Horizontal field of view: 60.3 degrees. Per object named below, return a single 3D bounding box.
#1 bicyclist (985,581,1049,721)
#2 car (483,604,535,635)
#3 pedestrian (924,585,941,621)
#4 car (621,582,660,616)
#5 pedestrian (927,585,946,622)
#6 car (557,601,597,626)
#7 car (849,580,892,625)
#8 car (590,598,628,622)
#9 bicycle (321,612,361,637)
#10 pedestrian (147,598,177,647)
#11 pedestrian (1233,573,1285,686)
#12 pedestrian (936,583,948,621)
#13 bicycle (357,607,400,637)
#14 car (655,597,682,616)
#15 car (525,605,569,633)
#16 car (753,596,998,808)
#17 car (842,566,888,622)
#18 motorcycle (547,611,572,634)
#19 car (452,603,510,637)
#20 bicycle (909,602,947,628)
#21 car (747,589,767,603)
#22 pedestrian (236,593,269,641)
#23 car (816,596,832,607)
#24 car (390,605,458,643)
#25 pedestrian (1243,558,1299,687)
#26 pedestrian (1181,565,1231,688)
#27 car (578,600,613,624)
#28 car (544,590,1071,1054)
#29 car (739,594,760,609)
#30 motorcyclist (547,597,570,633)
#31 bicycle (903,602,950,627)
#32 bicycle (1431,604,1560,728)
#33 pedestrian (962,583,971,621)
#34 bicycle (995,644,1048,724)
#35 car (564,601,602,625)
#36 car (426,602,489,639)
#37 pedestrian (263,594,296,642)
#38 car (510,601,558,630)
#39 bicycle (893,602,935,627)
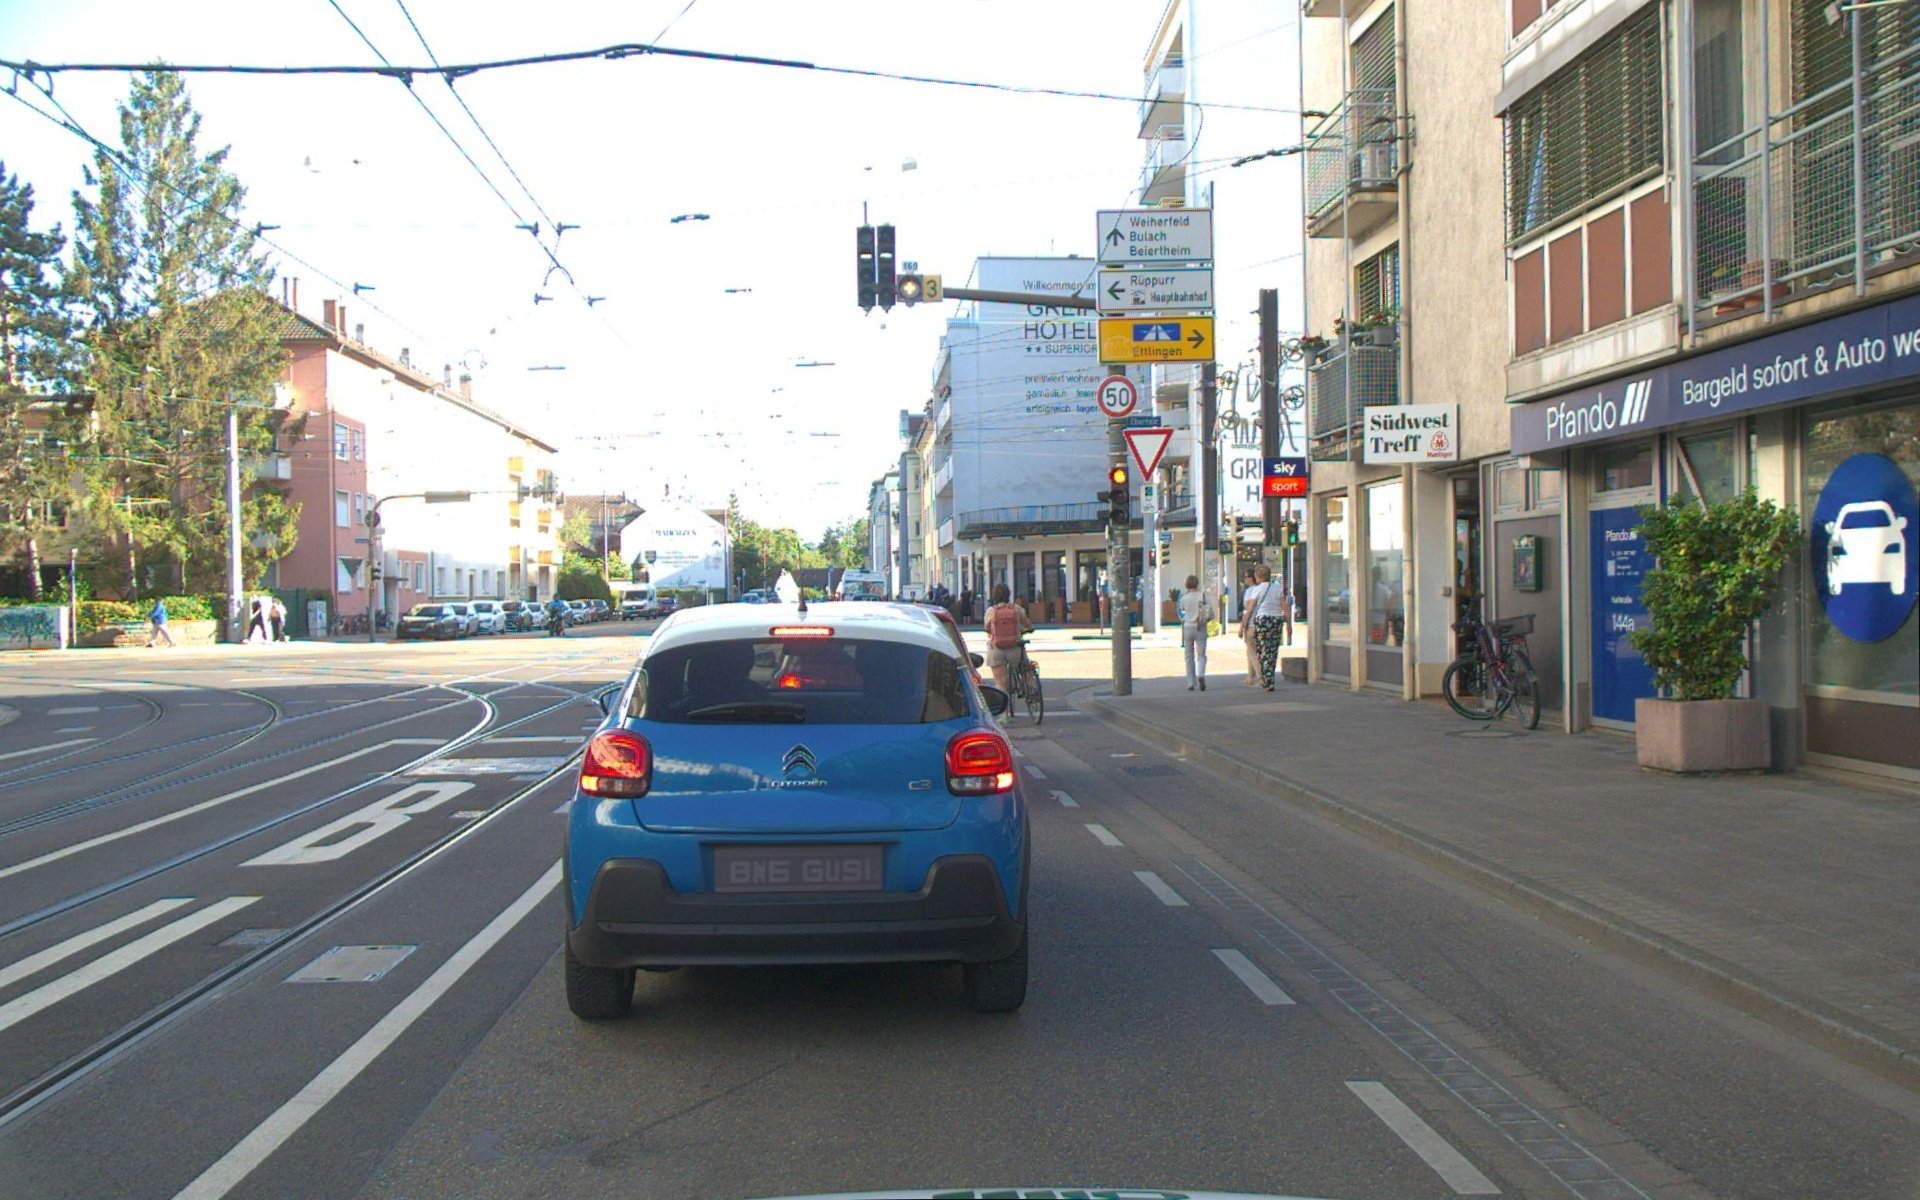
[{"bbox_3d":[0.691,0.607,20.285,0.711,1.674,0.790,-1,0,-1],"label":"bicyclist"},{"bbox_3d":[-23.317,0.988,85.589,1.874,1.523,3.996,-1,0,-5],"label":"car"},{"bbox_3d":[-1.236,0.148,74.248,0.637,1.583,0.490,-1,0,-23],"label":"pedestrian"},{"bbox_3d":[-22.939,-0.083,118.952,2.164,2.290,4.672,-1,0,-5],"label":"car"},{"bbox_3d":[-1.031,0.144,72.447,0.637,1.583,0.490,-1,0,-23],"label":"pedestrian"},{"bbox_3d":[-24.463,0.851,105.686,1.874,1.523,3.996,-1,0,-5],"label":"car"},{"bbox_3d":[-3.662,0.102,67.459,1.698,1.780,3.211,0,0,-4],"label":"car"},{"bbox_3d":[-25.713,0.725,121.184,1.990,1.647,4.508,-1,0,-3],"label":"car"},{"bbox_3d":[-25.068,0.990,66.989,0.718,0.968,2.596,-1,0,-2],"label":"bicycle"},{"bbox_3d":[-27.253,0.760,56.487,0.840,1.654,0.509,-1,0,-34],"label":"pedestrian"},{"bbox_3d":[4.193,0.403,23.191,0.530,1.534,0.611,-3,2,-3],"label":"pedestrian"},{"bbox_3d":[-0.751,0.081,69.706,0.482,1.583,0.383,-1,0,-4],"label":"pedestrian"},{"bbox_3d":[-25.692,0.964,73.111,0.831,1.247,3.302,-1,0,-2],"label":"bicycle"},{"bbox_3d":[-25.365,0.570,144.092,1.982,1.552,3.996,-1,0,-5],"label":"car"},{"bbox_3d":[-24.262,1.099,97.285,1.874,1.523,3.996,-1,0,-5],"label":"car"},{"bbox_3d":[-0.620,0.712,13.619,1.703,1.445,3.999,-1,0,-1],"label":"car"},{"bbox_3d":[-4.159,-0.244,72.367,1.954,2.366,3.997,0,0,-4],"label":"car"},{"bbox_3d":[-16.224,0.897,67.018,0.603,0.879,1.670,-1,0,-1],"label":"motorcycle"},{"bbox_3d":[-22.779,0.918,78.816,1.874,1.523,3.996,-1,0,-5],"label":"car"},{"bbox_3d":[-1.255,0.597,65.960,1.473,0.973,0.702,-1,0,1],"label":"bicycle"},{"bbox_3d":[-22.942,-0.431,187.087,1.982,1.552,3.996,-1,0,-5],"label":"car"},{"bbox_3d":[-25.327,0.600,59.182,0.826,1.720,0.737,-1,0,2],"label":"pedestrian"},{"bbox_3d":[-16.470,0.175,199.804,1.722,1.281,3.826,-1,0,-8],"label":"car"},{"bbox_3d":[-22.144,0.961,68.475,1.874,1.458,3.995,-1,0,-6],"label":"car"},{"bbox_3d":[4.195,0.298,22.363,0.530,1.701,0.650,-3,0,-3],"label":"pedestrian"},{"bbox_3d":[3.504,0.371,23.576,0.530,1.701,0.624,-3,2,-3],"label":"pedestrian"},{"bbox_3d":[-25.506,0.815,115.762,1.833,1.601,3.997,-1,0,-4],"label":"car"},{"bbox_3d":[-0.710,0.708,7.394,1.710,1.488,3.994,0,0,-7],"label":"car"},{"bbox_3d":[-21.520,0.157,169.067,1.982,1.552,3.996,-1,0,-5],"label":"car"},{"bbox_3d":[-16.217,0.605,66.863,0.704,1.402,0.911,-1,0,-1],"label":"motorcyclist"},{"bbox_3d":[-1.360,0.598,67.018,1.835,0.973,0.702,-1,0,1],"label":"bicycle"},{"bbox_3d":[5.094,0.597,15.827,0.519,1.091,1.809,-1,0,-4],"label":"bicycle"},{"bbox_3d":[0.282,0.078,70.141,0.279,1.583,0.304,-1,0,-10],"label":"pedestrian"},{"bbox_3d":[0.752,1.024,20.588,0.489,0.879,1.748,-1,0,-3],"label":"bicycle"},{"bbox_3d":[-25.189,0.861,110.674,1.874,1.523,3.996,-1,0,-5],"label":"car"},{"bbox_3d":[-22.502,0.887,74.196,1.874,1.523,3.996,-1,0,-5],"label":"car"},{"bbox_3d":[-24.349,0.641,59.200,0.826,1.720,0.737,-1,0,2],"label":"pedestrian"},{"bbox_3d":[-23.598,0.822,91.723,1.874,1.523,3.996,-1,0,-5],"label":"car"},{"bbox_3d":[-1.894,0.603,68.369,1.684,0.973,0.702,-1,0,1],"label":"bicycle"}]
